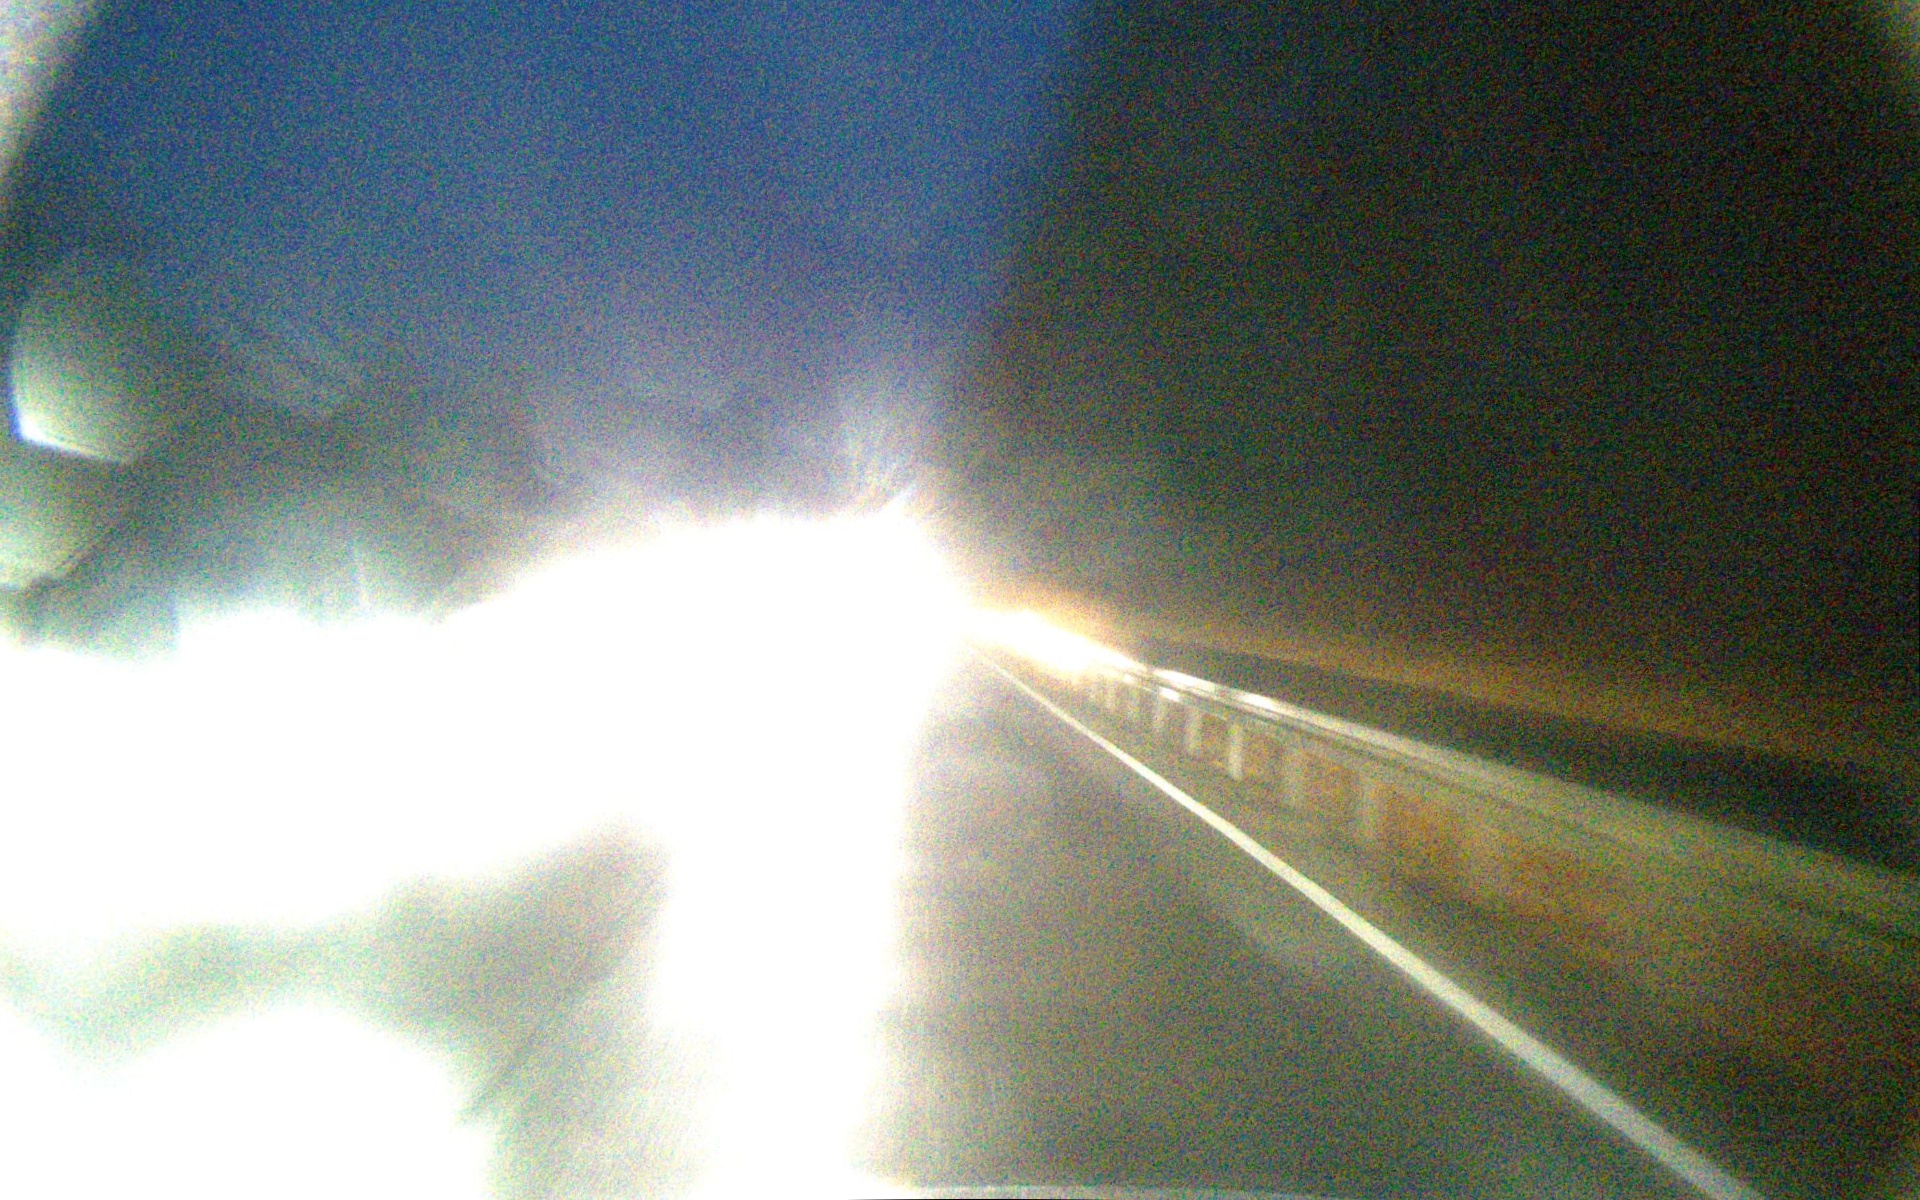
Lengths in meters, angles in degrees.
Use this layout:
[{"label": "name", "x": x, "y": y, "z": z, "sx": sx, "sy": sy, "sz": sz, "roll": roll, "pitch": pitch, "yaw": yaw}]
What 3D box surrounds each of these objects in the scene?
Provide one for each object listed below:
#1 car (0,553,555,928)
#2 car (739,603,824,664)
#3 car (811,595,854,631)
[{"label": "car", "x": -3.552, "y": 0.556, "z": 8.681, "sx": 1.953, "sy": 1.497, "sz": 3.835, "roll": 2, "pitch": 0, "yaw": -2}, {"label": "car", "x": -4.348, "y": 0.799, "z": 40.782, "sx": 1.769, "sy": 1.362, "sz": 4.187, "roll": 2, "pitch": -1, "yaw": -2}, {"label": "car", "x": -5.877, "y": 0.584, "z": 76.672, "sx": 1.797, "sy": 1.572, "sz": 4.643, "roll": 2, "pitch": -1, "yaw": -3}]
